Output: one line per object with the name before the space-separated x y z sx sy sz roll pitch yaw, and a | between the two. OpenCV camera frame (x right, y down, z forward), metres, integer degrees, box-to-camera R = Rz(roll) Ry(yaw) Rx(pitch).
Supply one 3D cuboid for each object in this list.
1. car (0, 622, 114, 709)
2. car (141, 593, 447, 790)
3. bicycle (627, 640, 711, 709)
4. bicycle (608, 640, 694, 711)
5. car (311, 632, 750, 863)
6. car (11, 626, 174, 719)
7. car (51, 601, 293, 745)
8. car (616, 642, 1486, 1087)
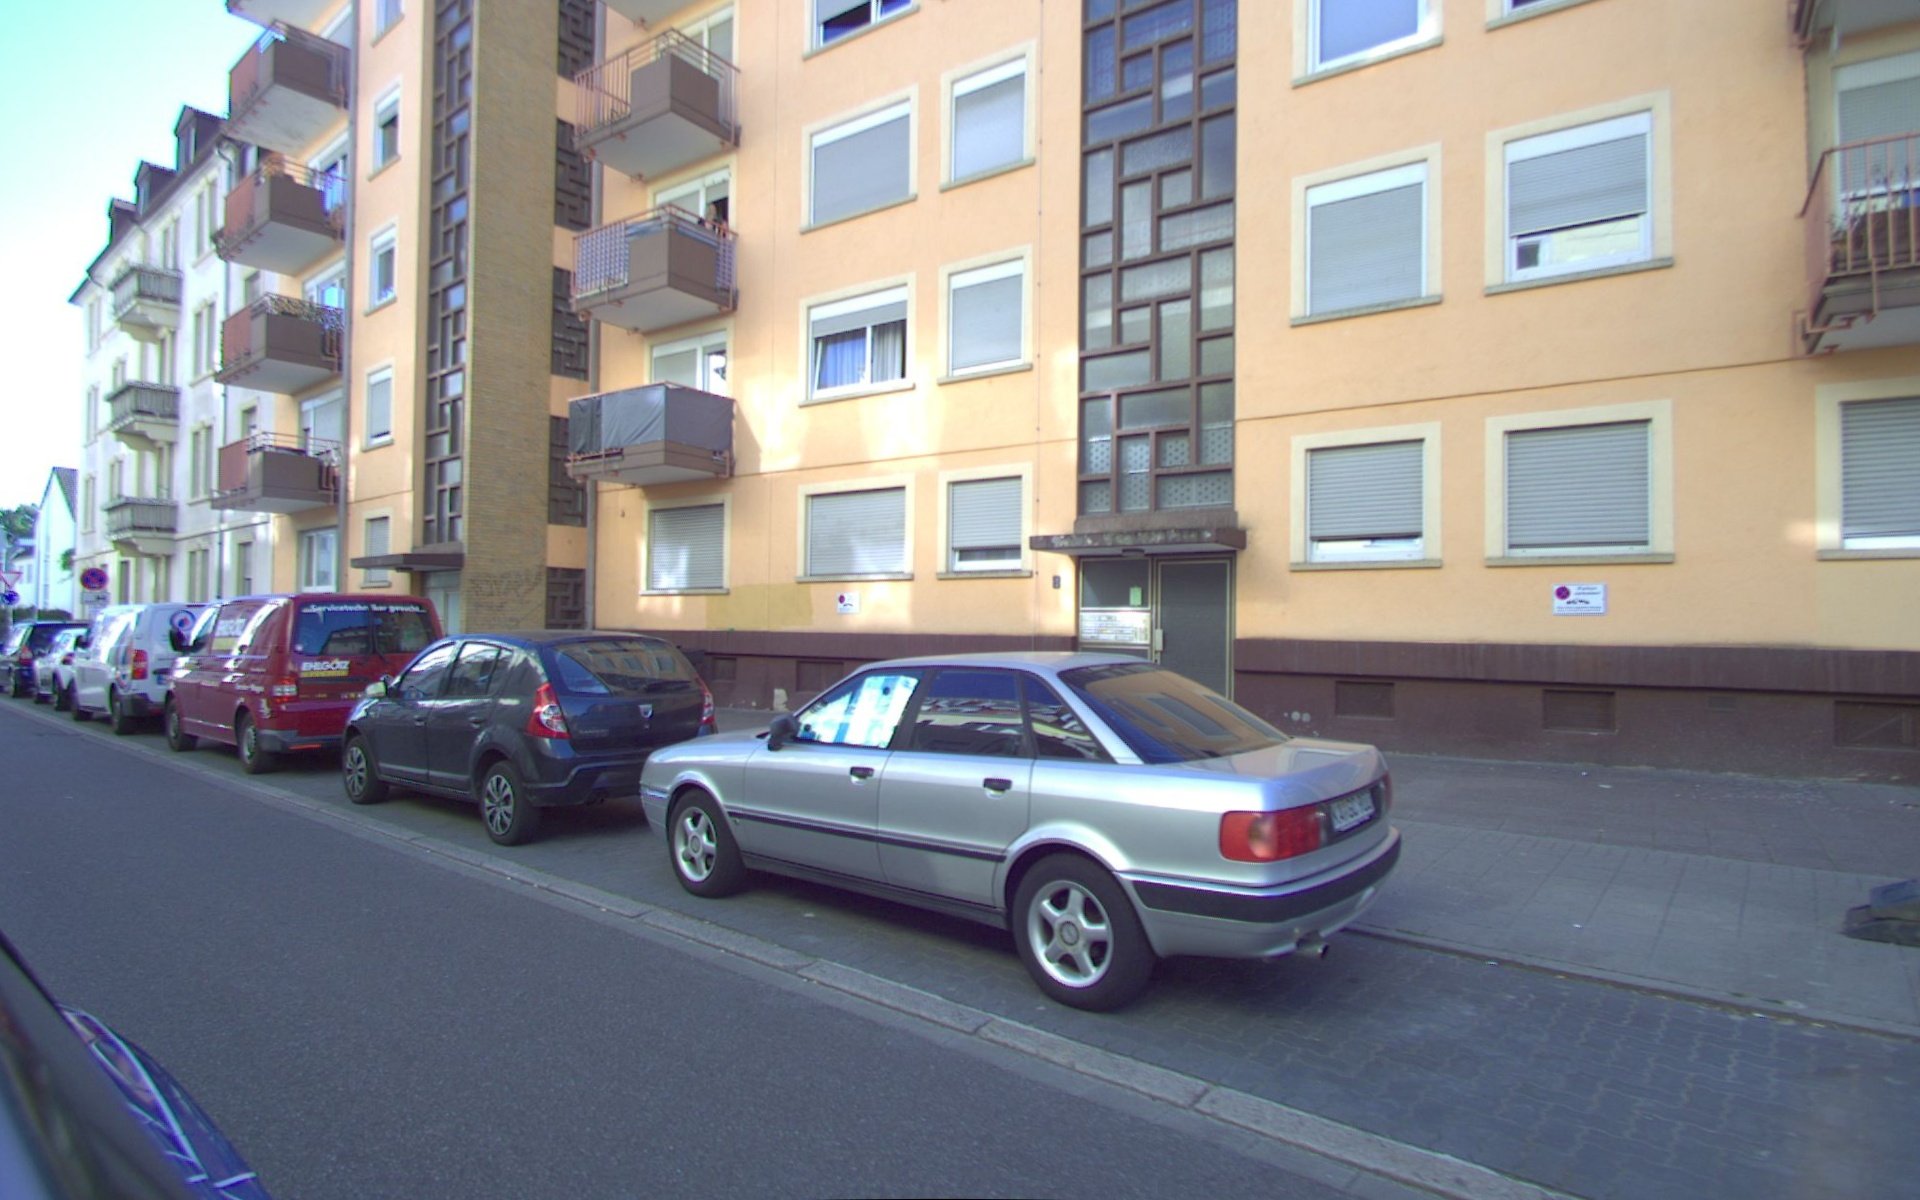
car | -20.665 1.403 22.782 4.290 1.784 1.745 -2 -2 40
car | -8.185 0.964 12.234 4.930 1.940 1.745 -2 -2 40
bicycle | -4.946 1.240 17.150 1.759 1.122 0.338 -1 -2 35
bicycle | -5.152 1.233 16.825 1.759 1.122 0.338 -1 -2 35
car | -3.774 1.044 8.623 3.995 1.514 1.745 -1 -3 39
car | -17.101 1.334 19.887 4.291 1.633 1.745 -2 -2 40
car | -12.683 1.061 16.143 5.304 1.940 1.955 -2 -2 40
car | 0.141 0.944 5.426 4.475 1.388 1.744 -2 -2 41
